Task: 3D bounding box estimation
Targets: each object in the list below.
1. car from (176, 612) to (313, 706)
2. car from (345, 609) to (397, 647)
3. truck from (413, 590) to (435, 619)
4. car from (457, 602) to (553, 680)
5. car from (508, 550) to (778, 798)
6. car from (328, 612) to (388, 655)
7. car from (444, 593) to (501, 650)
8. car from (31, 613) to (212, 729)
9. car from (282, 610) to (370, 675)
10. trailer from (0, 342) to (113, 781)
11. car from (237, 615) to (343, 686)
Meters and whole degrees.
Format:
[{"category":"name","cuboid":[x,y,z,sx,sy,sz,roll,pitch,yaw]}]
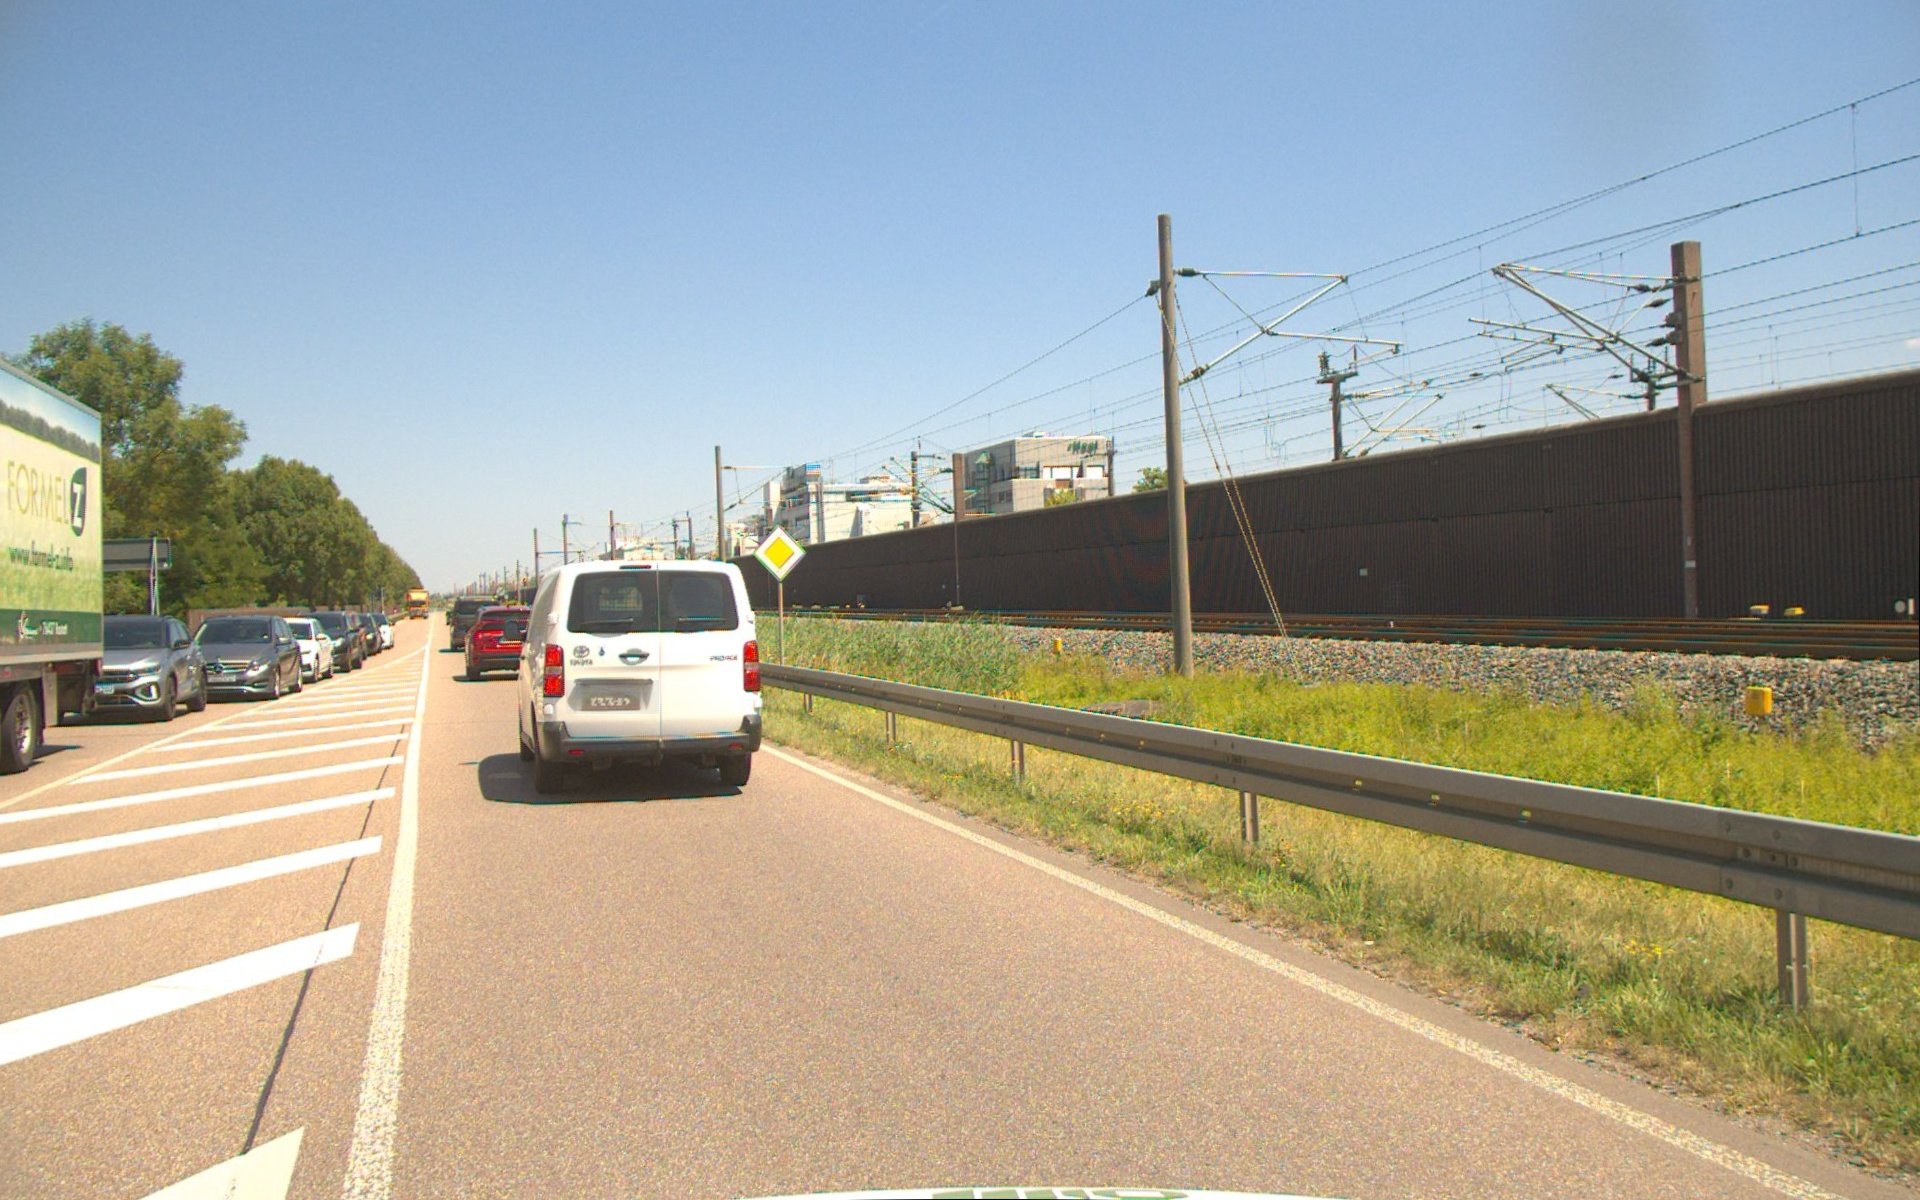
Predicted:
[{"category":"car","cuboid":[-13.592,1.061,31.638,1.596,1.564,4.369,-2,1,-13]},{"category":"car","cuboid":[-23.931,1.103,67.285,1.658,1.485,4.595,-1,0,-16]},{"category":"truck","cuboid":[-74.371,0.619,229.406,2.749,3.907,9.277,-1,0,-18]},{"category":"car","cuboid":[-10.640,0.905,38.475,1.877,1.678,4.118,-1,0,-19]},{"category":"car","cuboid":[-3.110,0.605,15.367,1.915,1.914,4.856,0,-1,-18]},{"category":"car","cuboid":[-21.907,1.192,60.323,1.658,1.485,4.597,-1,0,-15]},{"category":"car","cuboid":[-18.593,0.796,63.038,1.976,2.058,4.759,-1,0,-17]},{"category":"car","cuboid":[-12.932,1.033,25.753,1.684,1.589,4.136,-2,0,-16]},{"category":"car","cuboid":[-17.355,1.118,45.442,1.688,1.617,4.517,-1,0,-14]},{"category":"trailer","cuboid":[-9.661,-0.372,13.038,2.646,4.116,14.060,-1,0,-16]},{"category":"car","cuboid":[-15.673,1.135,38.871,1.625,1.504,4.613,-1,0,-14]}]
